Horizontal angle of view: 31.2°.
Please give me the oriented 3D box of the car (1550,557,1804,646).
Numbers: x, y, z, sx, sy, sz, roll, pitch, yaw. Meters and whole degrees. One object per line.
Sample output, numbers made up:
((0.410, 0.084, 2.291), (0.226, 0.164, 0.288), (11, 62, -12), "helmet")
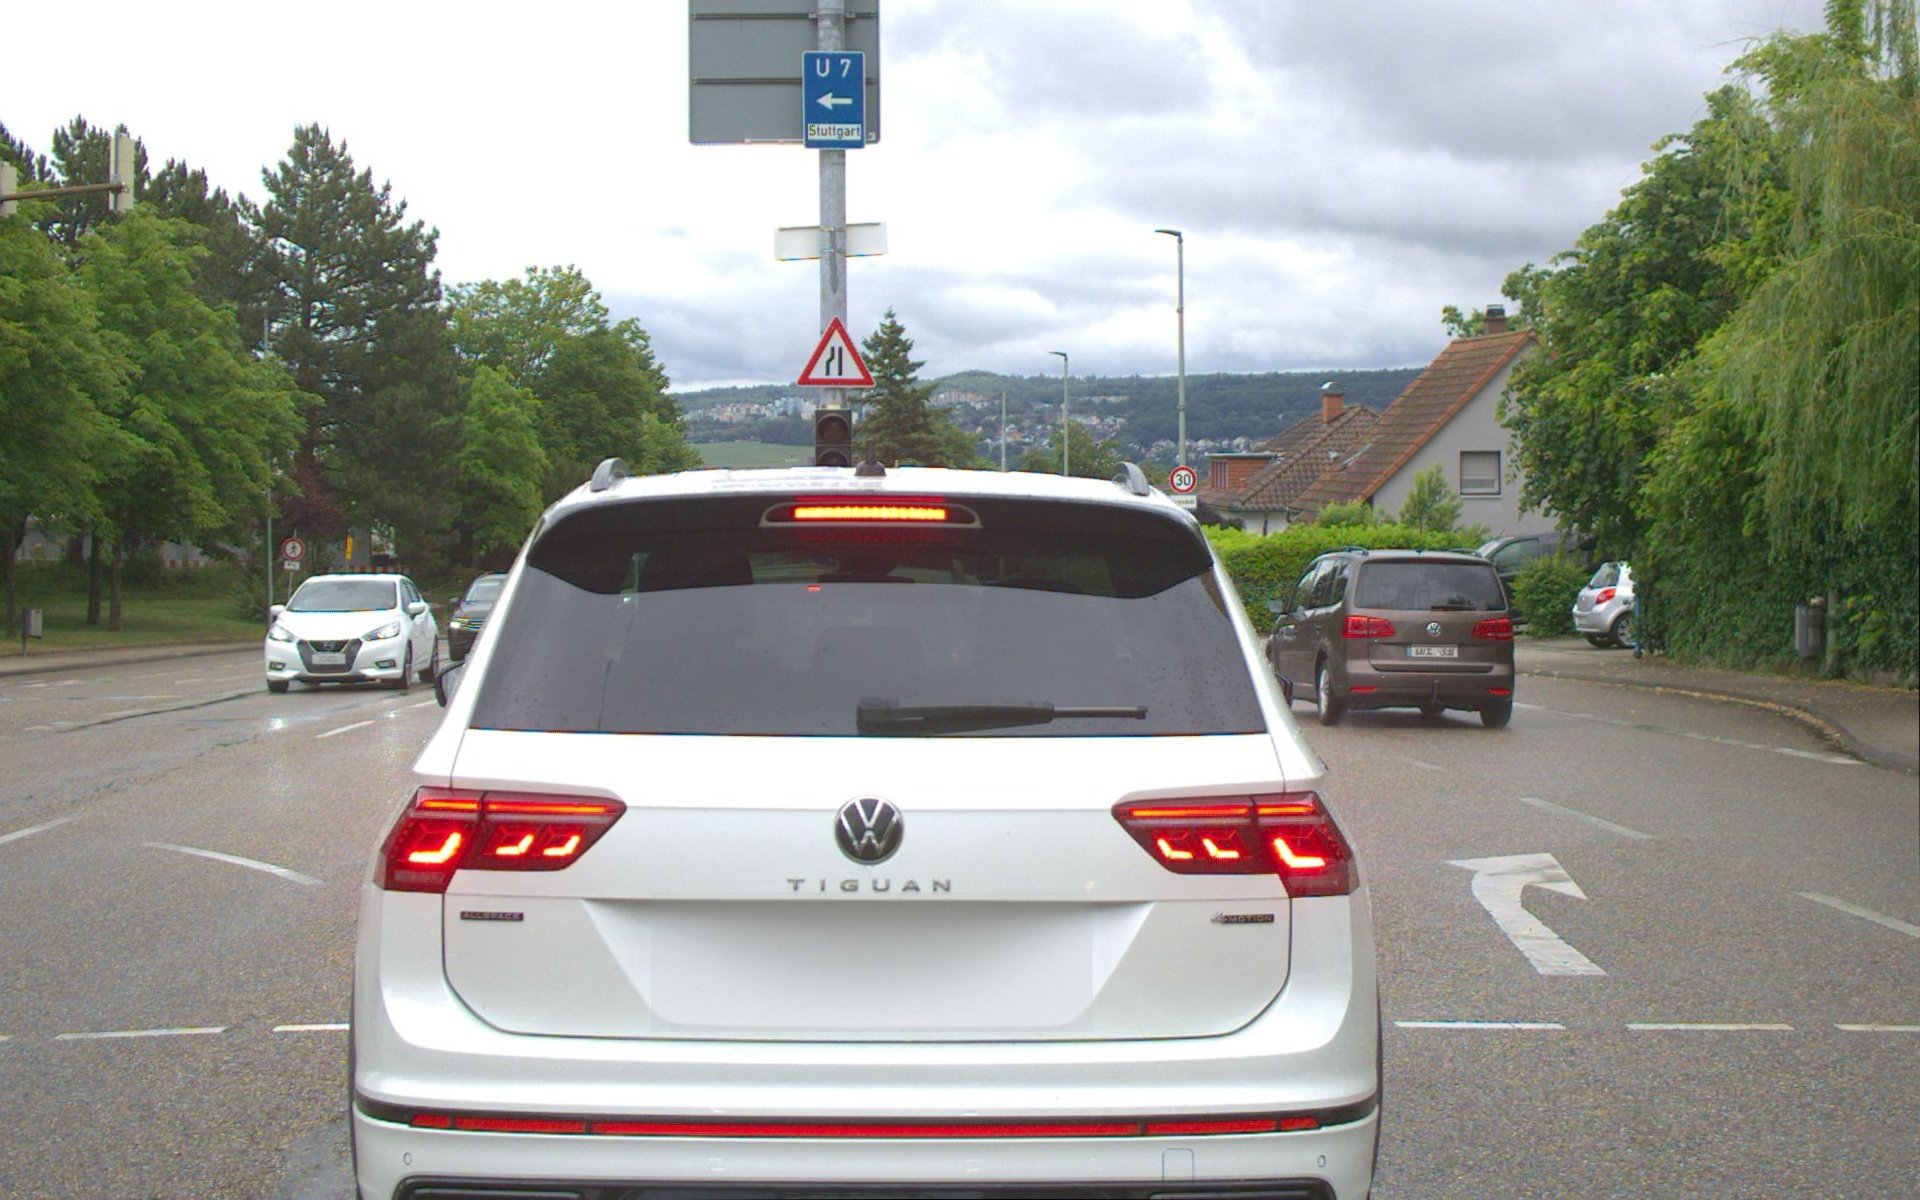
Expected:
((11.773, 0.025, 56.556), (3.713, 1.390, 1.729), (-1, 0, -7), "car")

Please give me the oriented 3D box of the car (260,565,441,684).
((-7.628, 0.277, 43.327), (1.746, 1.392, 3.802), (0, 1, -2), "car")

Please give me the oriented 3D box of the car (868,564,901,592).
((-4.372, -1.300, 200.251), (1.850, 1.569, 4.000), (-1, 1, 0), "car")

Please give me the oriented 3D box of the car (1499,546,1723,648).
((11.713, -0.064, 61.957), (3.627, 1.740, 1.708), (0, 3, -4), "car")

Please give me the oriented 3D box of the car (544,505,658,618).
((-8.375, -0.932, 80.625), (2.297, 2.519, 5.774), (-1, 1, -3), "car")

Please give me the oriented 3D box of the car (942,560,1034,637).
((0.542, -0.047, 69.085), (1.680, 1.455, 3.802), (1, 1, -2), "car")

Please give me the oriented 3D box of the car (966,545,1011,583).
((1.209, -1.547, 145.961), (1.850, 1.569, 4.000), (-1, 1, 0), "car")

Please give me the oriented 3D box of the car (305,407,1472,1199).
((-0.170, 0.540, 7.449), (1.763, 1.690, 4.273), (2, 1, -1), "car")

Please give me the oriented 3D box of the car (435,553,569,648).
((-7.838, -0.027, 59.175), (1.775, 1.497, 4.472), (-2, 1, -2), "car")

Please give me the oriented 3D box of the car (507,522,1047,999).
((-0.622, 0.508, 13.503), (1.798, 1.584, 3.926), (1, 1, 0), "car")

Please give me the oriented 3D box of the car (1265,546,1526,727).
((4.045, 0.294, 32.512), (1.735, 1.569, 4.069), (1, 1, -3), "car")

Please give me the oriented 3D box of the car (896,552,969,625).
((-0.693, -0.303, 85.125), (1.712, 1.752, 3.802), (0, 1, -2), "car")
